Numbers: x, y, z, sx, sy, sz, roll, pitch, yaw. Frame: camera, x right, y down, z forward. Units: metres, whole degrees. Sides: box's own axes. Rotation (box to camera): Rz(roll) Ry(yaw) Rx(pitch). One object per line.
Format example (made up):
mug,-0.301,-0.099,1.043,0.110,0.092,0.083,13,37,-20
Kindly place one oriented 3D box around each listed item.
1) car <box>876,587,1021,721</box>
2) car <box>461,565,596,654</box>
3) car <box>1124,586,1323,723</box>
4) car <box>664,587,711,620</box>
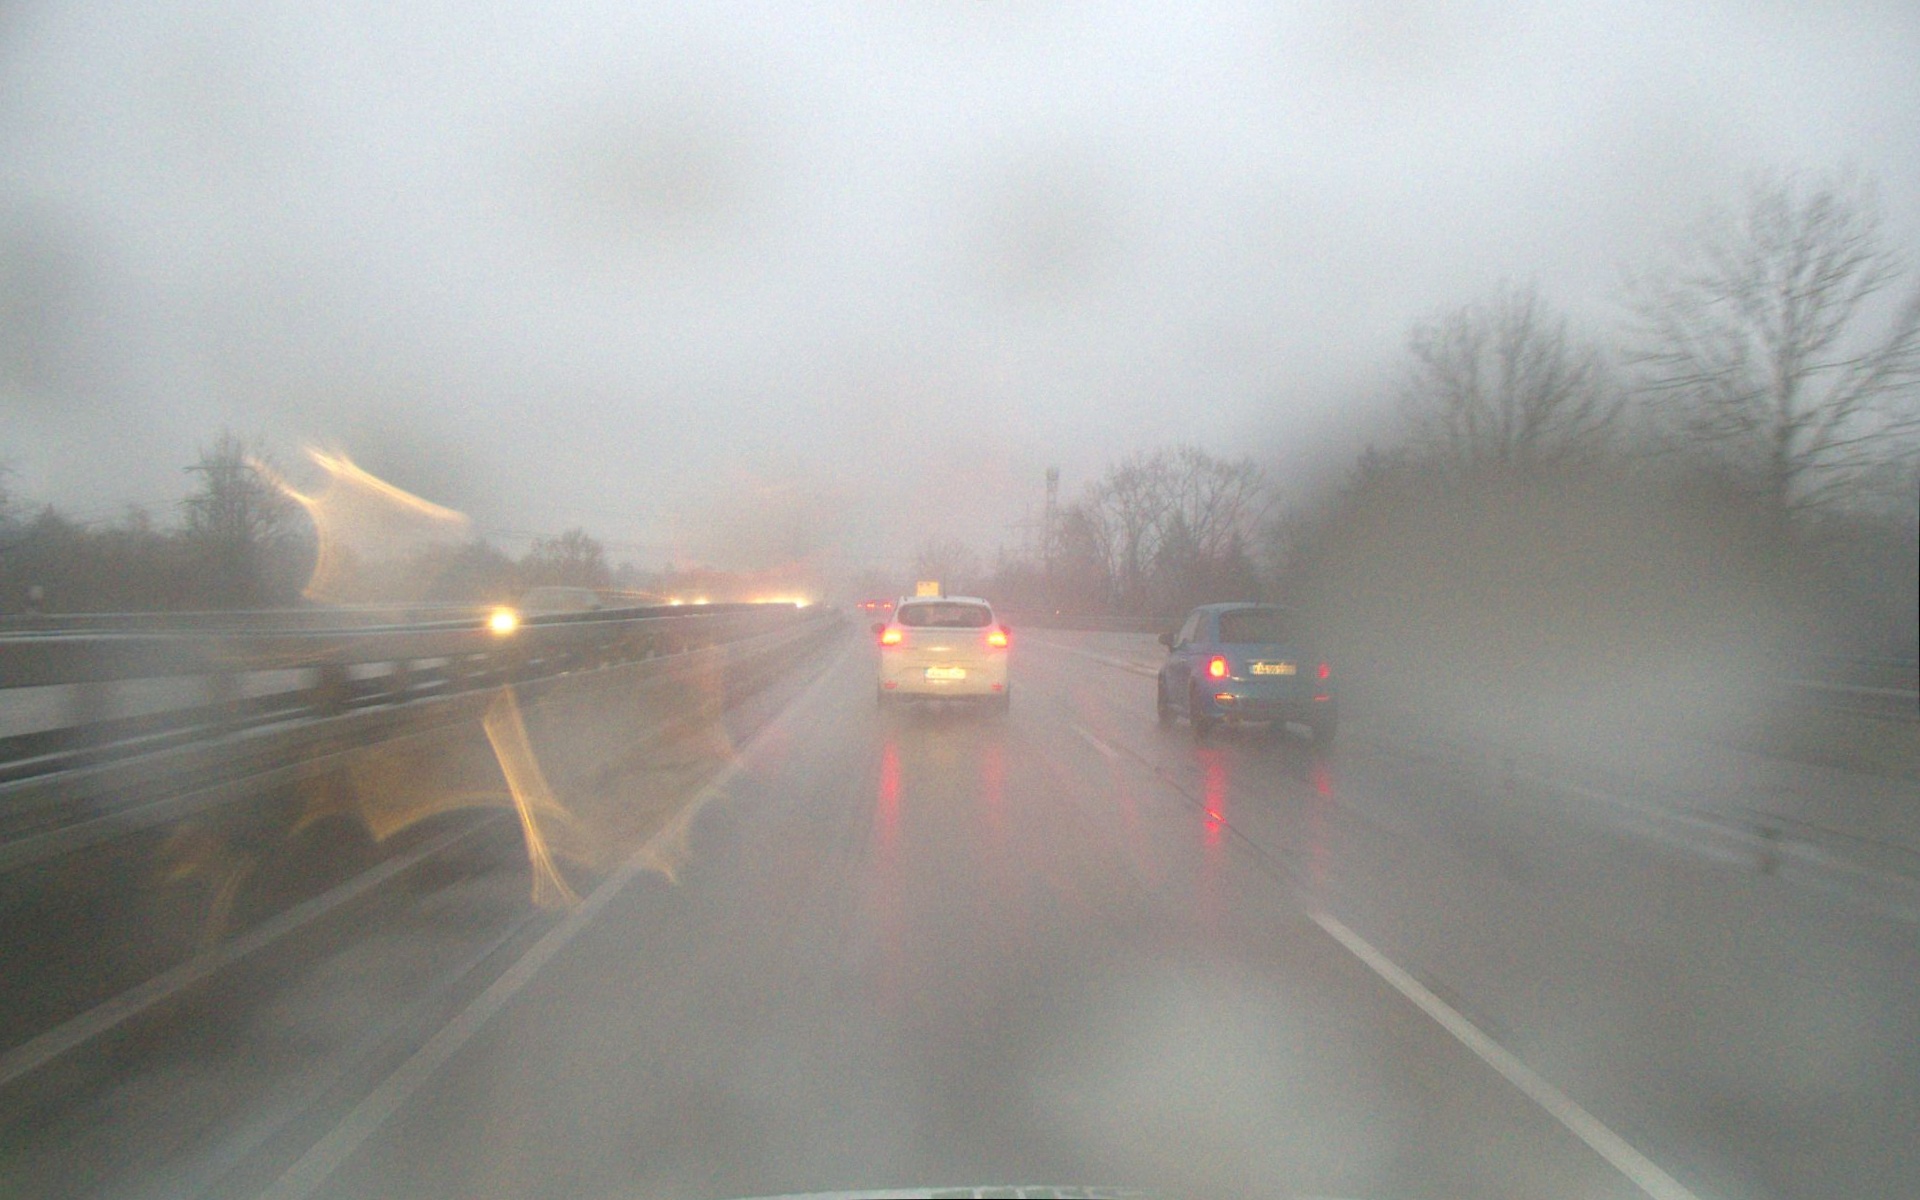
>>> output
car,-0.174,0.675,22.795,1.808,1.664,3.767,1,0,-1
car,-8.920,0.187,34.504,1.705,1.668,3.999,3,0,0
car,3.104,0.583,20.280,1.807,1.479,4.149,1,0,1
car,-15.672,0.181,95.372,1.856,1.815,4.704,1,0,1
